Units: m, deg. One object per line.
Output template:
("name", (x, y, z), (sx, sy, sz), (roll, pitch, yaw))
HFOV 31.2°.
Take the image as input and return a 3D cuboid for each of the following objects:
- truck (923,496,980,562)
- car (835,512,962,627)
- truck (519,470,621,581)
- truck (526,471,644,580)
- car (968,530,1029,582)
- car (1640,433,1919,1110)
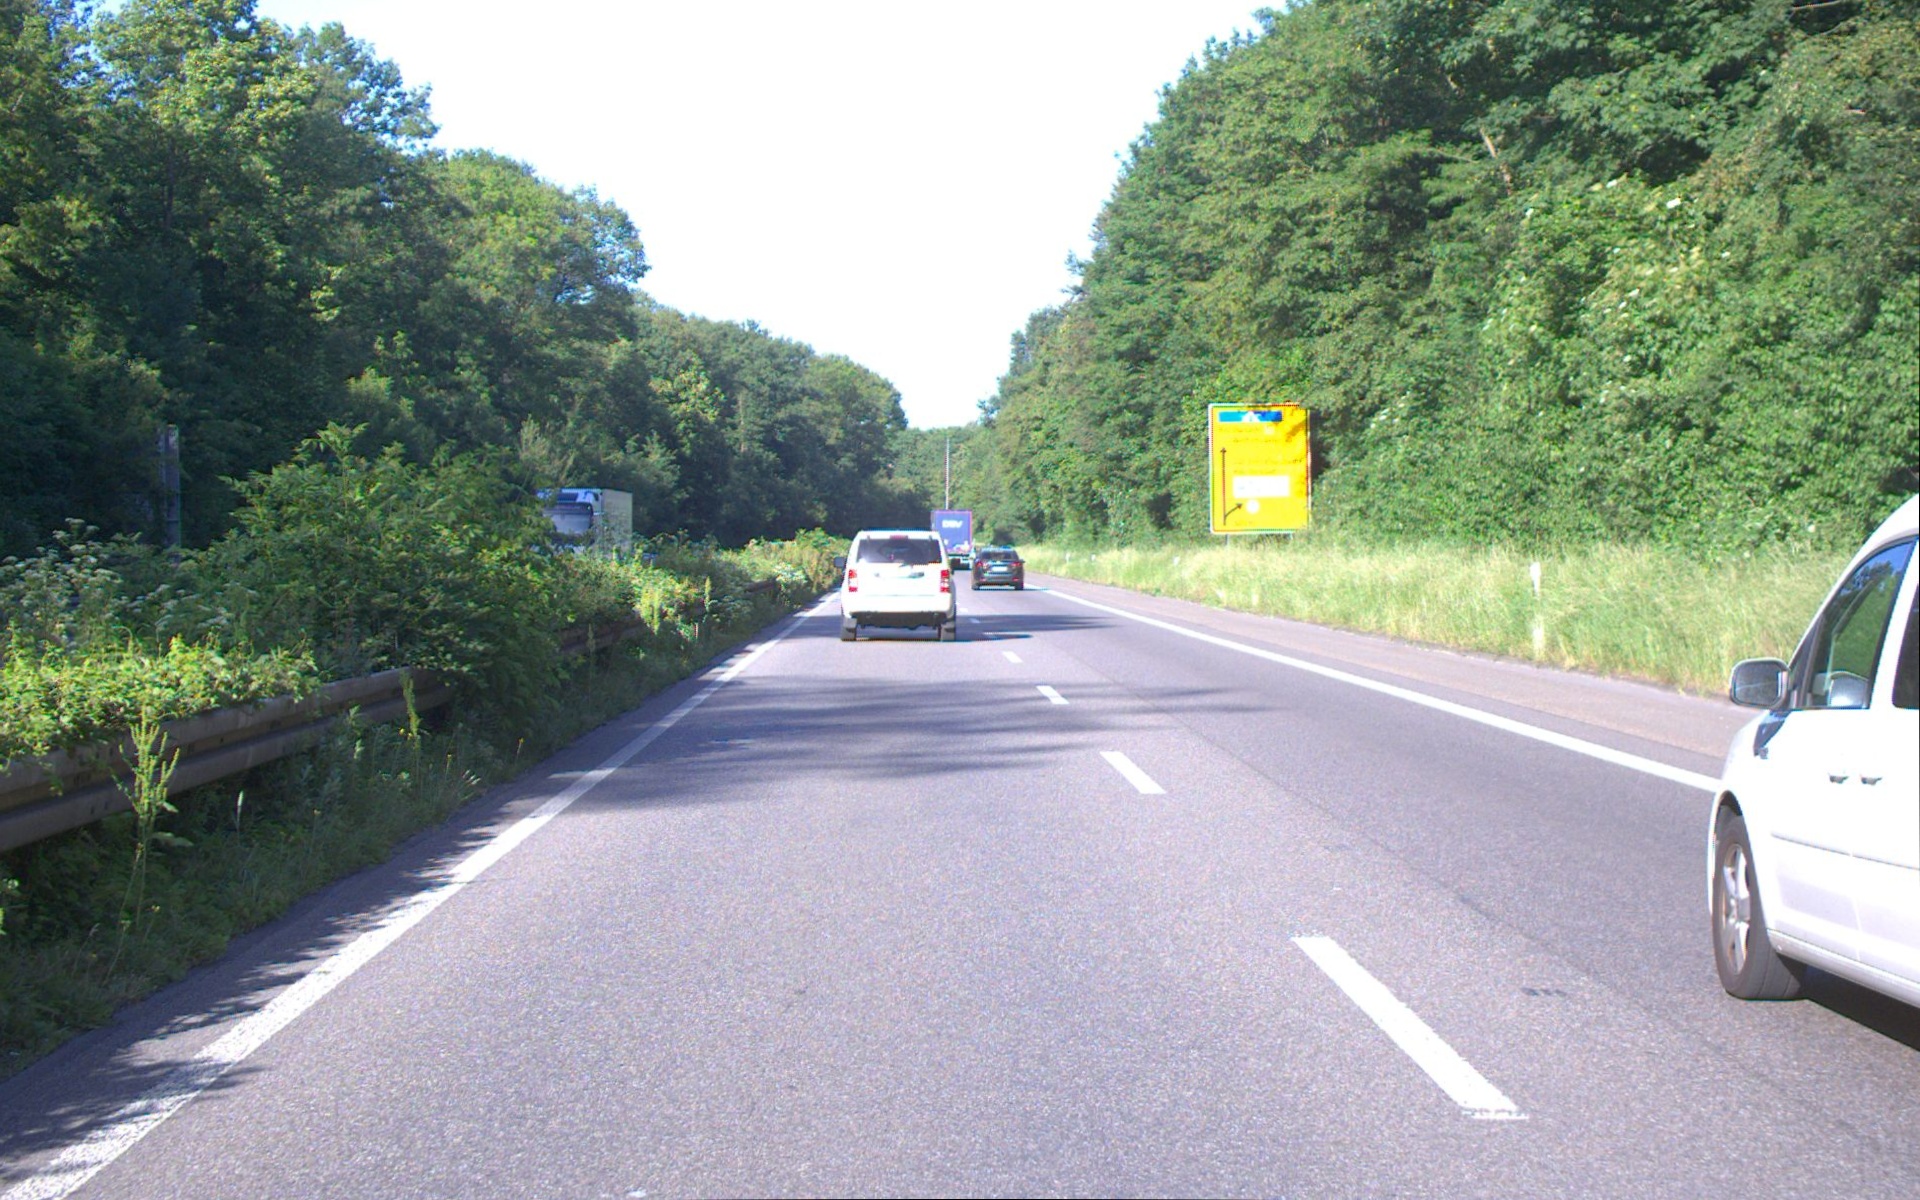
("truck", (-0.595, -4.795, 233.314), (3.734, 4.328, 9.305), (1, 0, -1))
("car", (-1.014, -0.501, 56.070), (1.951, 1.776, 4.588), (1, 0, -1))
("truck", (-14.516, -2.779, 128.299), (3.228, 3.999, 5.677), (1, 1, -1))
("truck", (-14.637, -2.905, 135.308), (3.243, 3.999, 14.452), (1, 1, -1))
("car", (1.349, -1.545, 121.808), (1.951, 1.776, 4.588), (1, 0, -1))
("car", (3.443, 0.459, 10.236), (1.799, 1.807, 4.588), (1, 0, -1))
